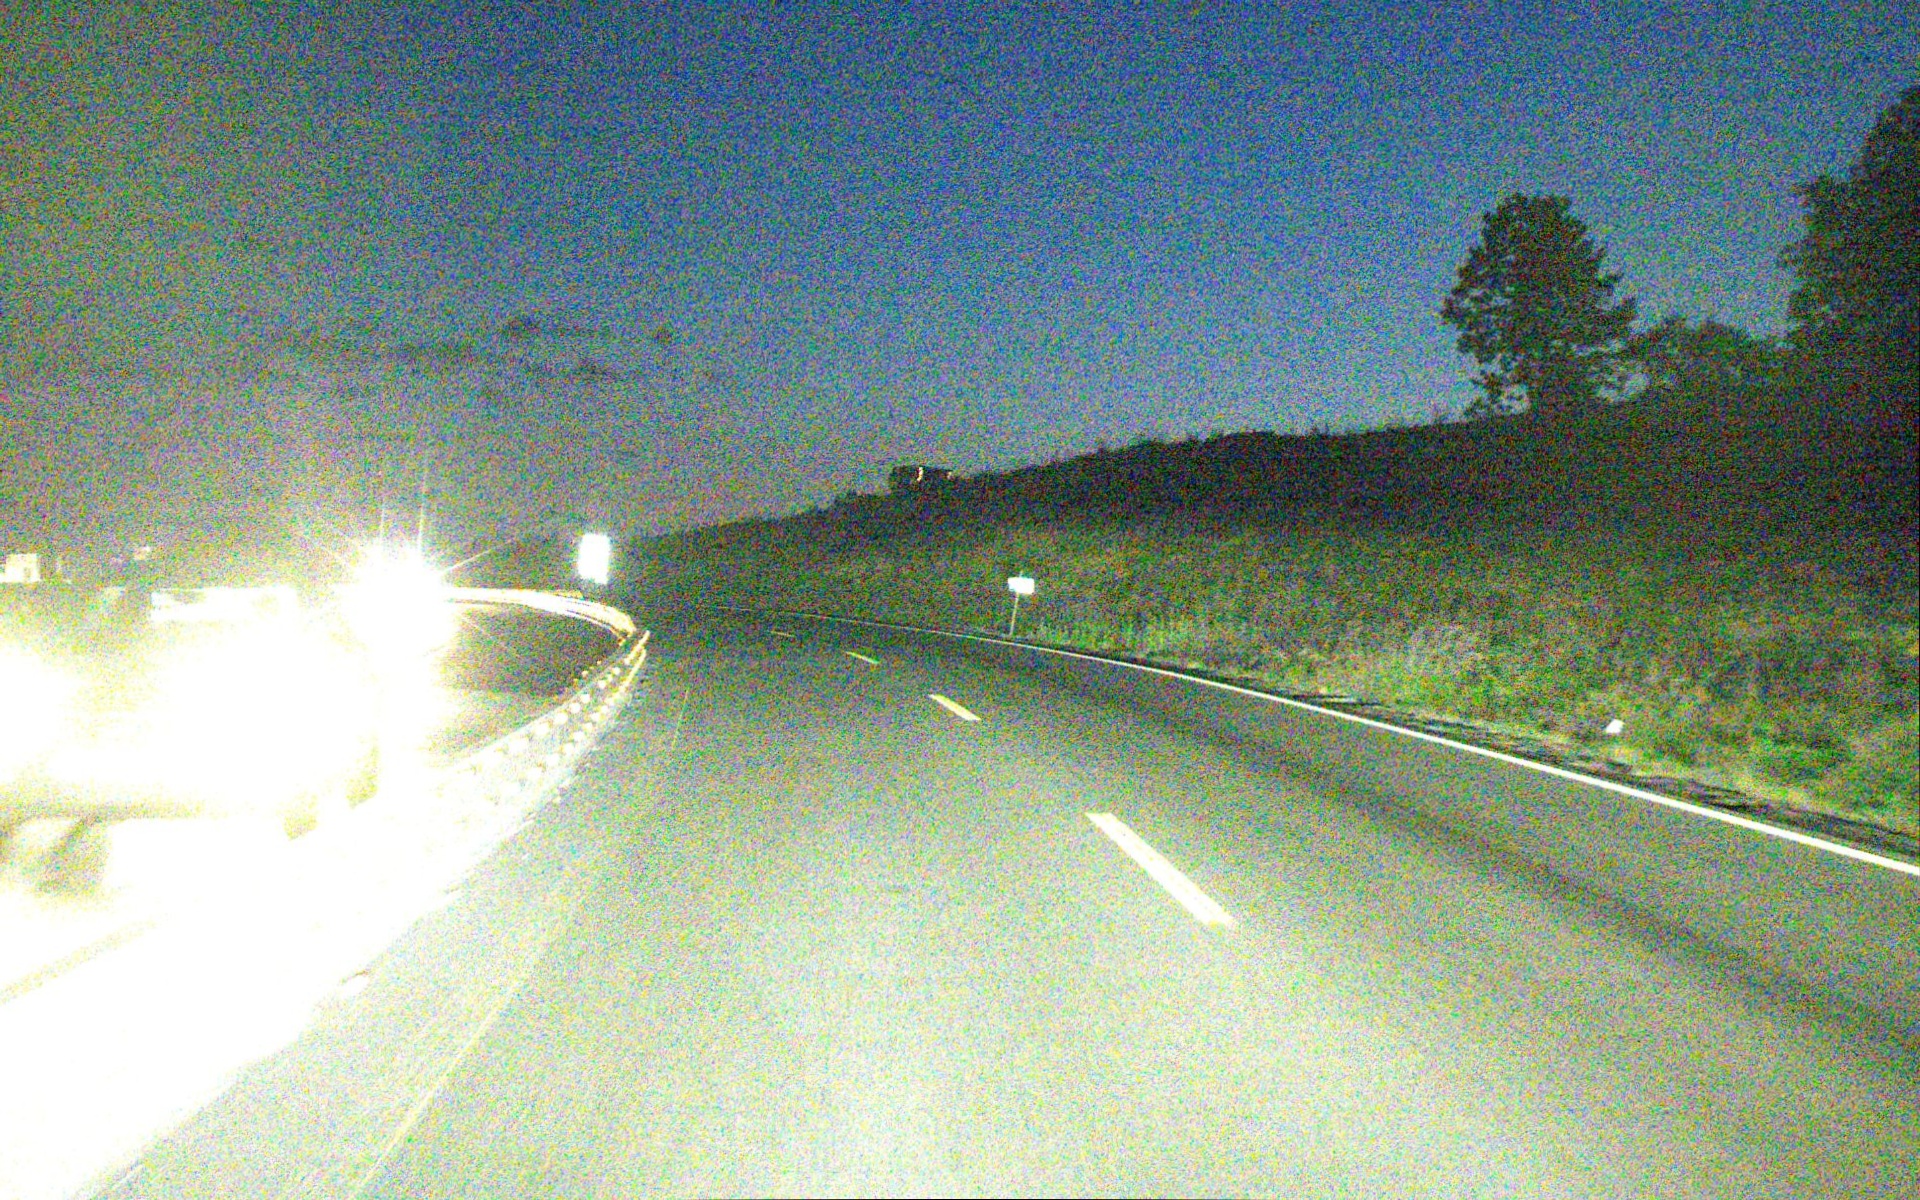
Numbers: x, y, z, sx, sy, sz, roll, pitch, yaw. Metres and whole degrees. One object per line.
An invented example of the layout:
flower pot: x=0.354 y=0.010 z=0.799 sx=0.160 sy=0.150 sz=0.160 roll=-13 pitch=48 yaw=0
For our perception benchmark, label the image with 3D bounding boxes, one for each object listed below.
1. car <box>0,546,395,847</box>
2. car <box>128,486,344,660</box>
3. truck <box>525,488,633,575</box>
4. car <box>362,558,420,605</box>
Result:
car: x=-4.165 y=0.458 z=18.712 sx=1.651 sy=1.464 sz=4.000 roll=0 pitch=0 yaw=-2
car: x=-8.955 y=-0.332 z=42.974 sx=1.993 sy=2.007 sz=5.588 roll=-1 pitch=0 yaw=-5
truck: x=-21.149 y=-3.702 z=190.127 sx=4.010 sy=4.536 sz=13.958 roll=-1 pitch=0 yaw=-14
car: x=-20.612 y=-0.663 z=124.406 sx=1.993 sy=1.634 sz=4.001 roll=-1 pitch=0 yaw=-10
